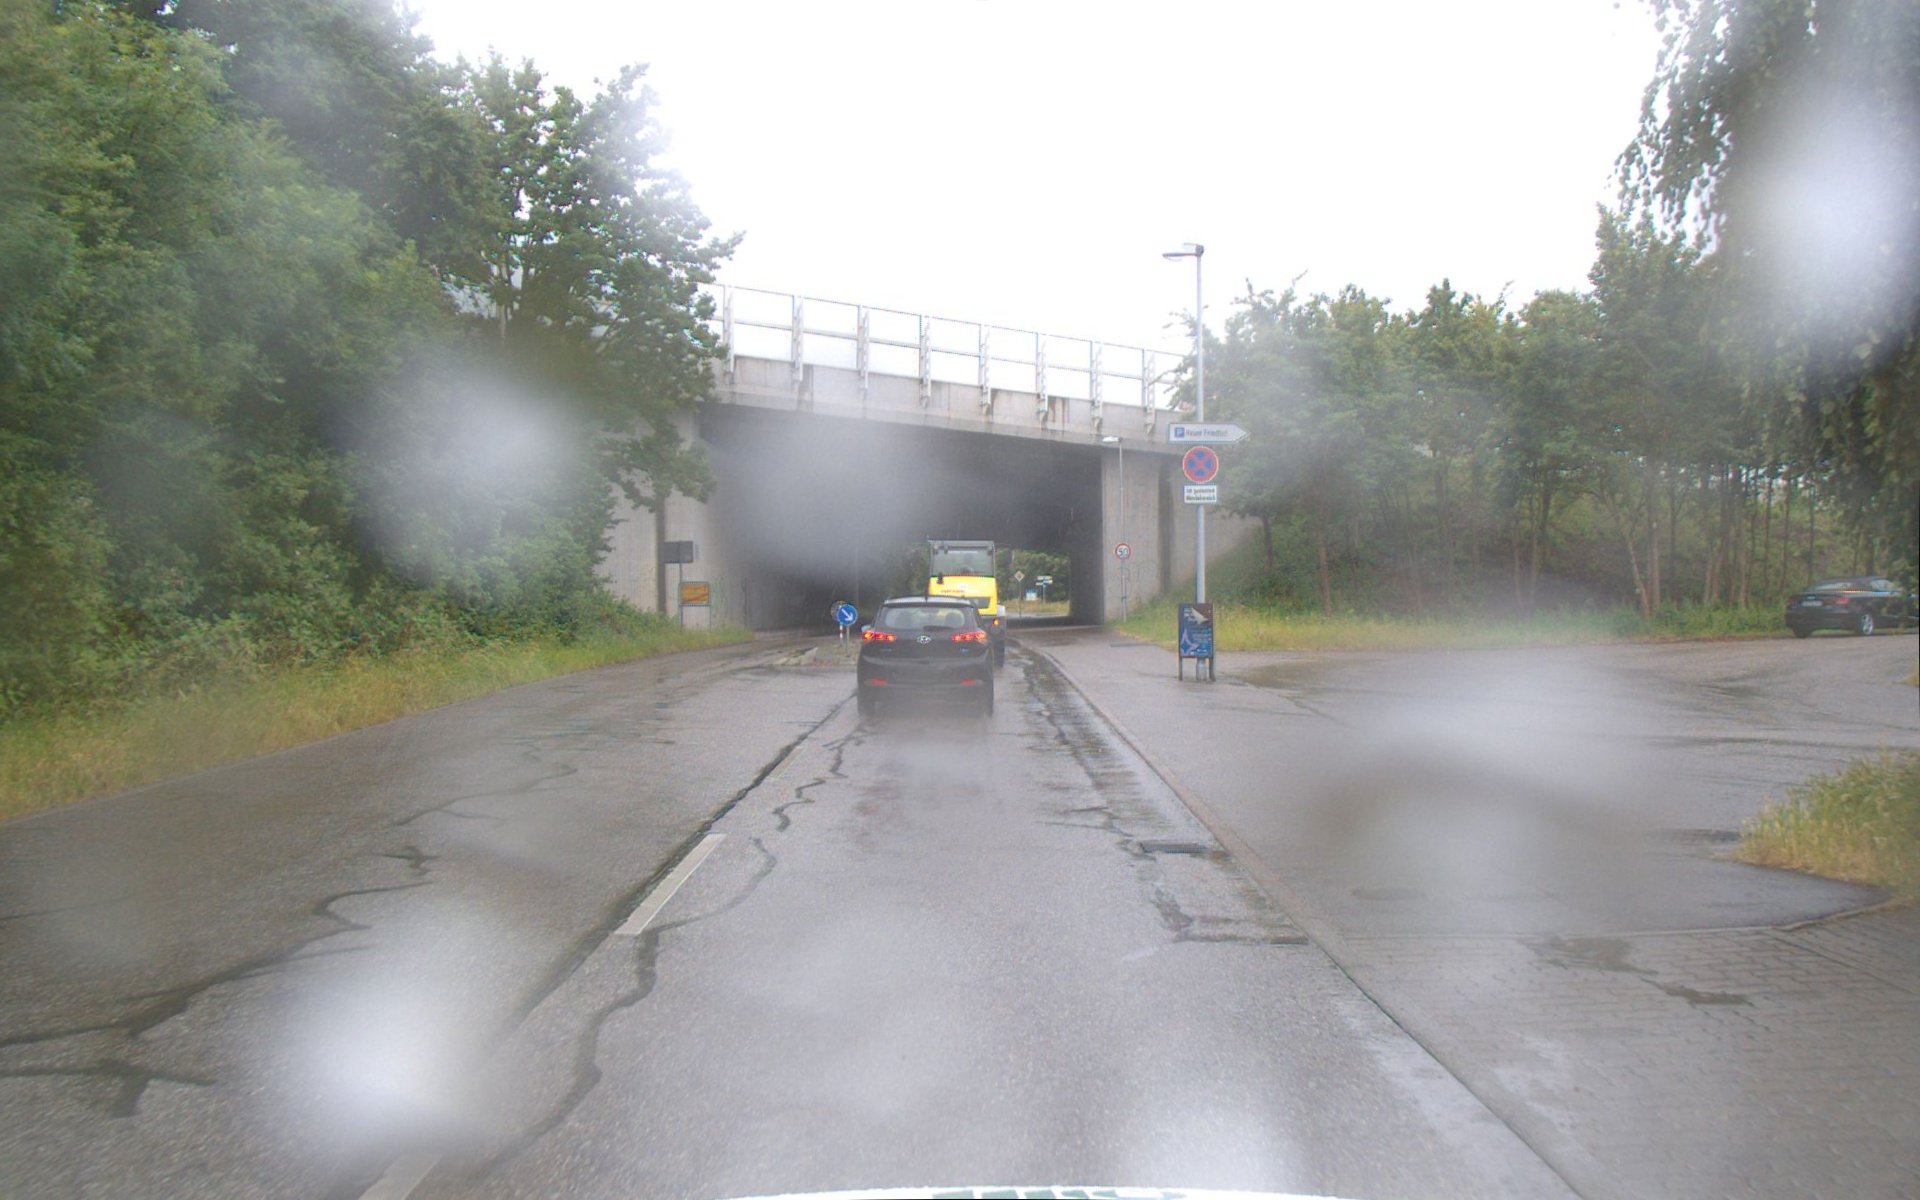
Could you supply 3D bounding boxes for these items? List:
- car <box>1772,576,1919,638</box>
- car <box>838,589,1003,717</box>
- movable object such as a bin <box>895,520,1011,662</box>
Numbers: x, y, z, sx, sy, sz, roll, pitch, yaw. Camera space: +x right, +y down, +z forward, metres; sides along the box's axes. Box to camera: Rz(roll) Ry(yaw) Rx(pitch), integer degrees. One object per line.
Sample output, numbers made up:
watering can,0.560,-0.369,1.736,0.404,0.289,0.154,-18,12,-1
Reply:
car,21.378,0.180,39.475,4.062,1.383,1.882,1,0,-35
car,-0.502,0.646,21.851,1.953,1.513,3.999,1,0,-1
movable object such as a bin,-0.185,-0.161,35.244,2.200,2.716,6.625,1,0,-1
